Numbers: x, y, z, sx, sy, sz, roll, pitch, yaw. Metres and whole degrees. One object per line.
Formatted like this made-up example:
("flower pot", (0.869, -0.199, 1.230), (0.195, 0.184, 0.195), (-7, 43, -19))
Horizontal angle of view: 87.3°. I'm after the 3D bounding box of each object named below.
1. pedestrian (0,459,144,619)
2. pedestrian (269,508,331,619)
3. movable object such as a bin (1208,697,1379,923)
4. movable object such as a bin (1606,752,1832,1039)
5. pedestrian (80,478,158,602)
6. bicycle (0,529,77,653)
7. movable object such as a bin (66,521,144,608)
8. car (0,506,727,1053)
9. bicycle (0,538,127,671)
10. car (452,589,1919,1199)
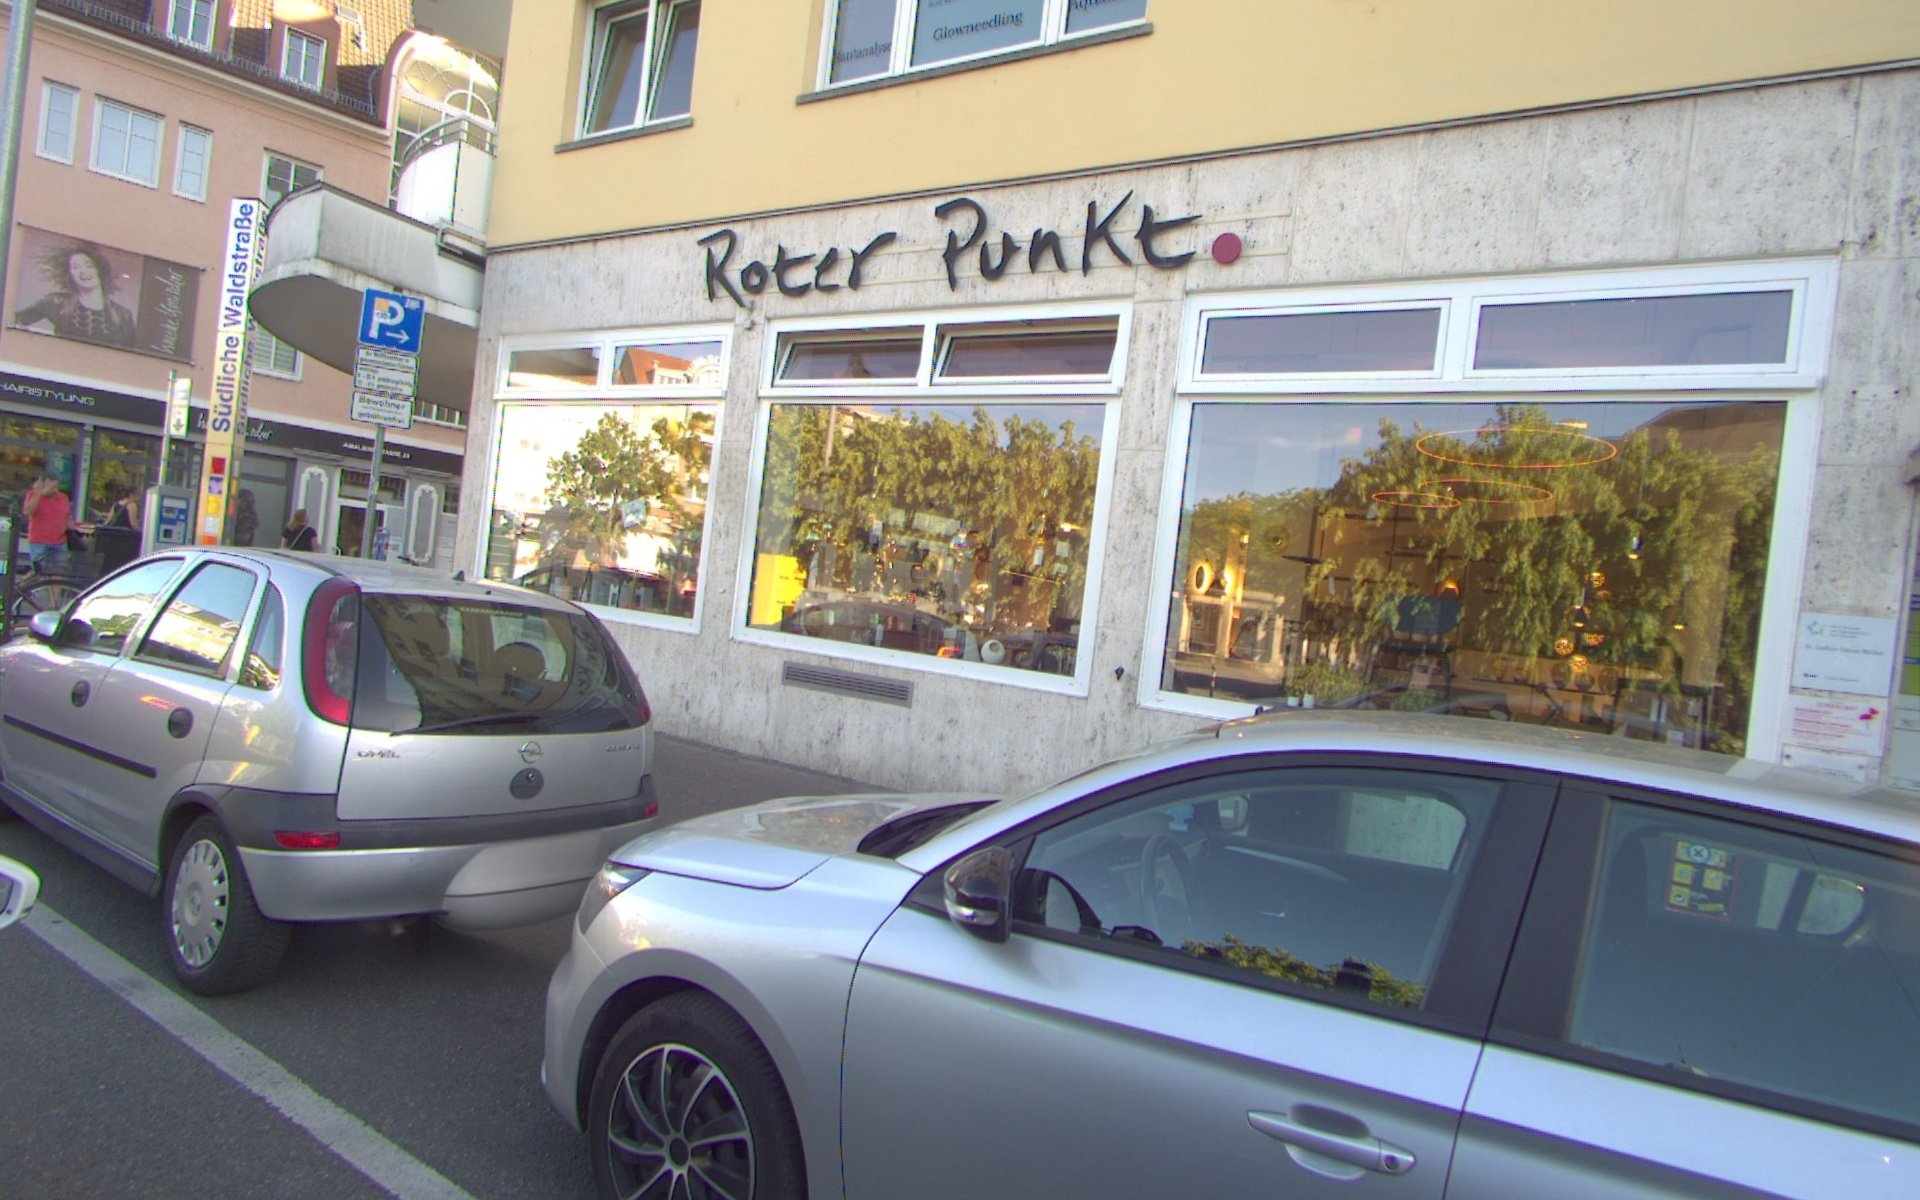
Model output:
("pedestrian", (-10.958, -0.713, 12.214), (1.095, 1.739, 1.060), (7, -1, -12))
("pedestrian", (-11.184, -0.617, 17.081), (0.715, 1.777, 0.782), (4, 2, -29))
("movable object such as a bin", (1.828, 1.096, 5.477), (0.639, 1.035, 0.738), (6, -1, 31))
("movable object such as a bin", (3.376, 1.265, 4.548), (0.639, 1.035, 0.738), (6, -1, 31))
("pedestrian", (-13.330, -0.941, 15.942), (0.879, 1.875, 0.680), (6, 3, 33))
("bicycle", (-9.053, -0.151, 8.798), (0.642, 1.072, 1.816), (7, -1, 33))
("movable object such as a bin", (-11.954, -0.491, 14.065), (0.716, 1.117, 0.636), (7, 2, 35))
("car", (-2.954, 0.484, 4.461), (3.520, 1.443, 1.587), (6, -2, 32))
("bicycle", (-8.162, 0.003, 8.254), (0.642, 1.057, 1.884), (7, 0, 33))
("car", (0.783, 0.943, 2.282), (3.624, 1.453, 1.587), (6, -2, 30))
